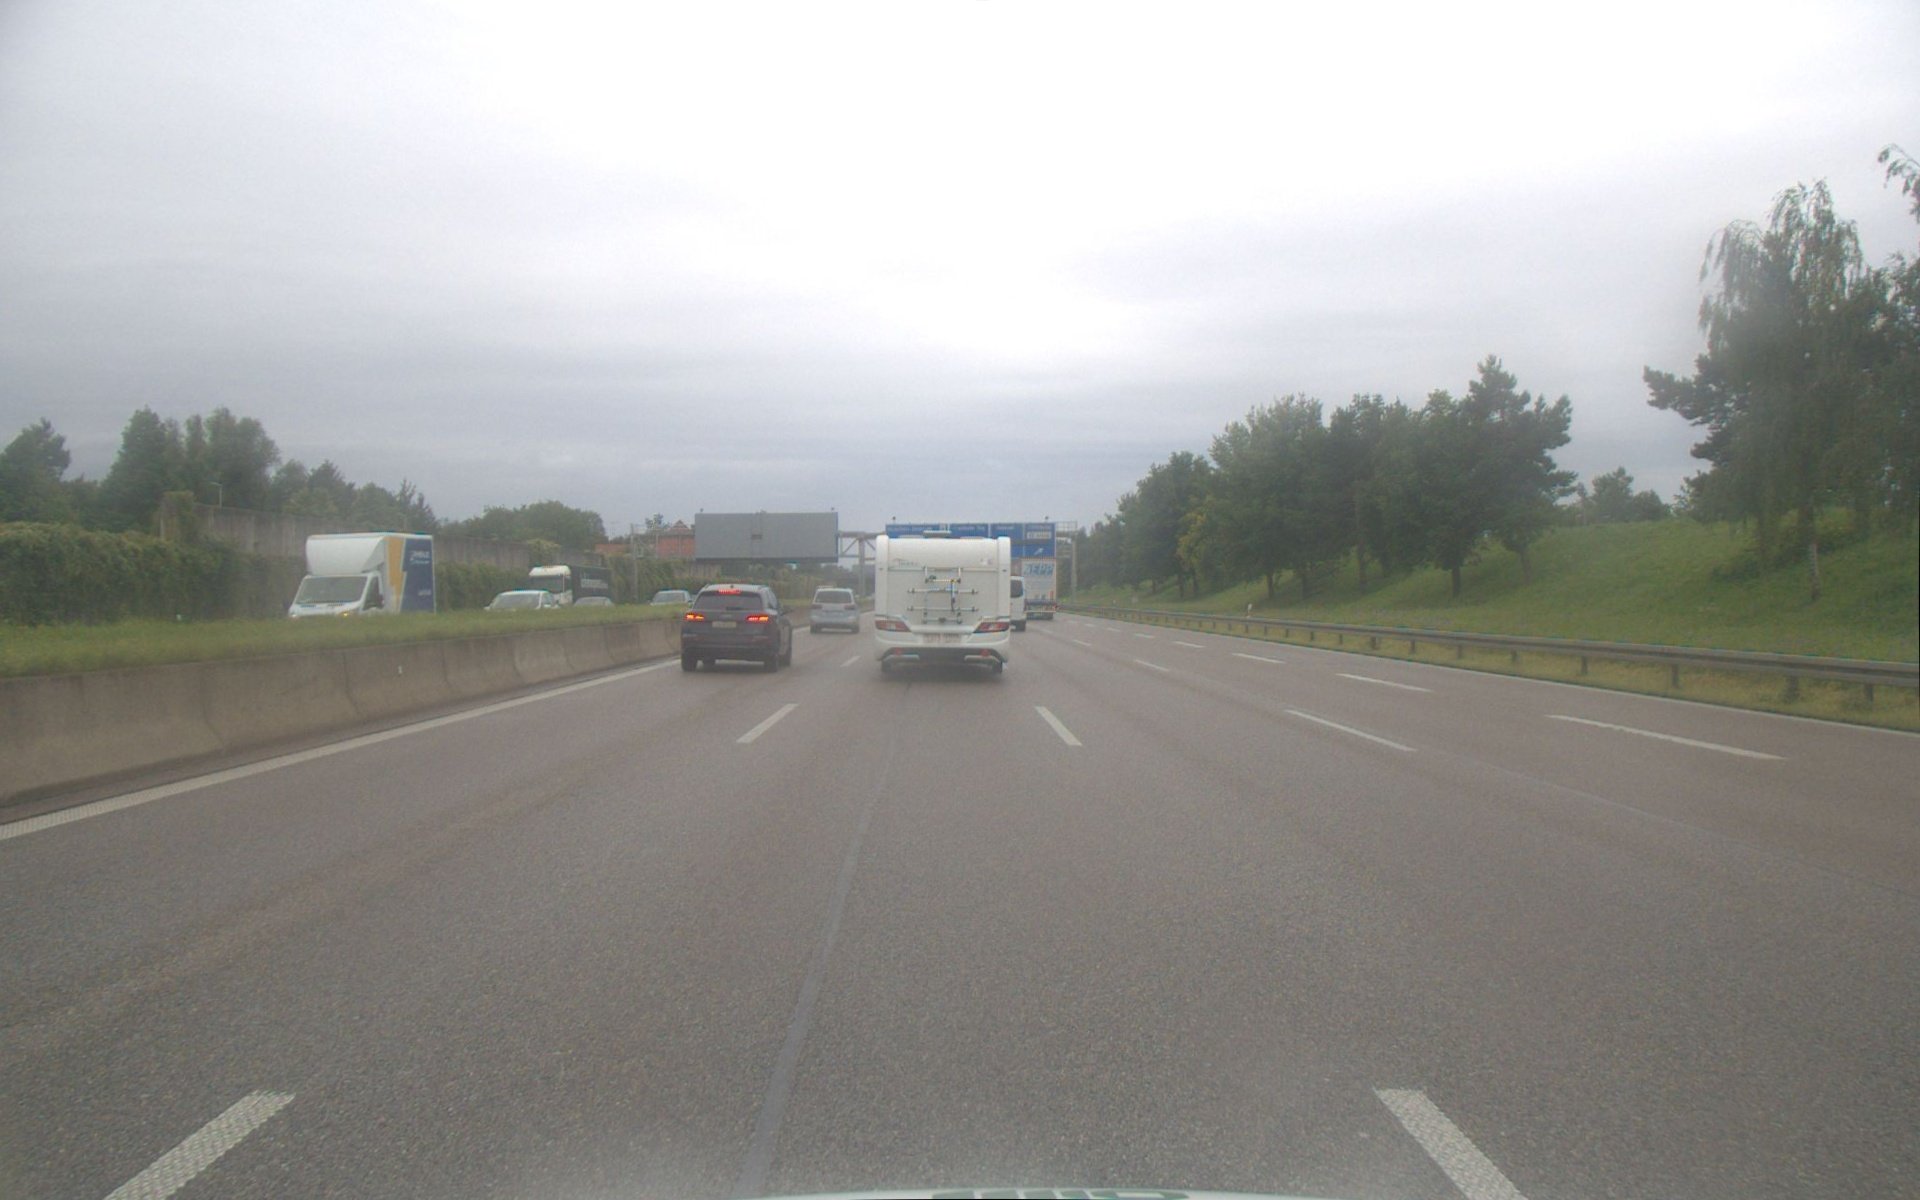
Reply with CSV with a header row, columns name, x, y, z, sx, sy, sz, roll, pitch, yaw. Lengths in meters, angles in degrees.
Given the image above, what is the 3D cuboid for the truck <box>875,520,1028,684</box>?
name,x,y,z,sx,sy,sz,roll,pitch,yaw
truck,-0.203,0.047,31.313,2.607,2.790,5.076,1,0,-2

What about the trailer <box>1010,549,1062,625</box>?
name,x,y,z,sx,sy,sz,roll,pitch,yaw
trailer,5.214,-0.838,115.441,3.036,5.008,11.789,1,0,0

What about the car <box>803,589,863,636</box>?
name,x,y,z,sx,sy,sz,roll,pitch,yaw
car,-4.903,0.467,64.390,2.085,1.736,4.111,1,0,-2

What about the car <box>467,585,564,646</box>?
name,x,y,z,sx,sy,sz,roll,pitch,yaw
car,-13.206,0.453,49.363,1.785,1.691,4.148,1,0,-1

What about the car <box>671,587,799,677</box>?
name,x,y,z,sx,sy,sz,roll,pitch,yaw
car,-4.414,0.603,33.224,1.953,1.628,5.122,1,0,-1

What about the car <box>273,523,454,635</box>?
name,x,y,z,sx,sy,sz,roll,pitch,yaw
car,-16.141,-0.510,45.309,2.274,2.782,7.314,1,0,0

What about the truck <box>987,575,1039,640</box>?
name,x,y,z,sx,sy,sz,roll,pitch,yaw
truck,2.361,0.356,75.312,2.012,2.818,5.547,1,0,-1

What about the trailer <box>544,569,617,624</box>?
name,x,y,z,sx,sy,sz,roll,pitch,yaw
trailer,-24.470,-0.187,107.216,2.259,3.347,10.562,1,0,0

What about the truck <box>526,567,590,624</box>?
name,x,y,z,sx,sy,sz,roll,pitch,yaw
truck,-24.508,-0.245,101.089,2.268,3.330,6.581,1,0,0
